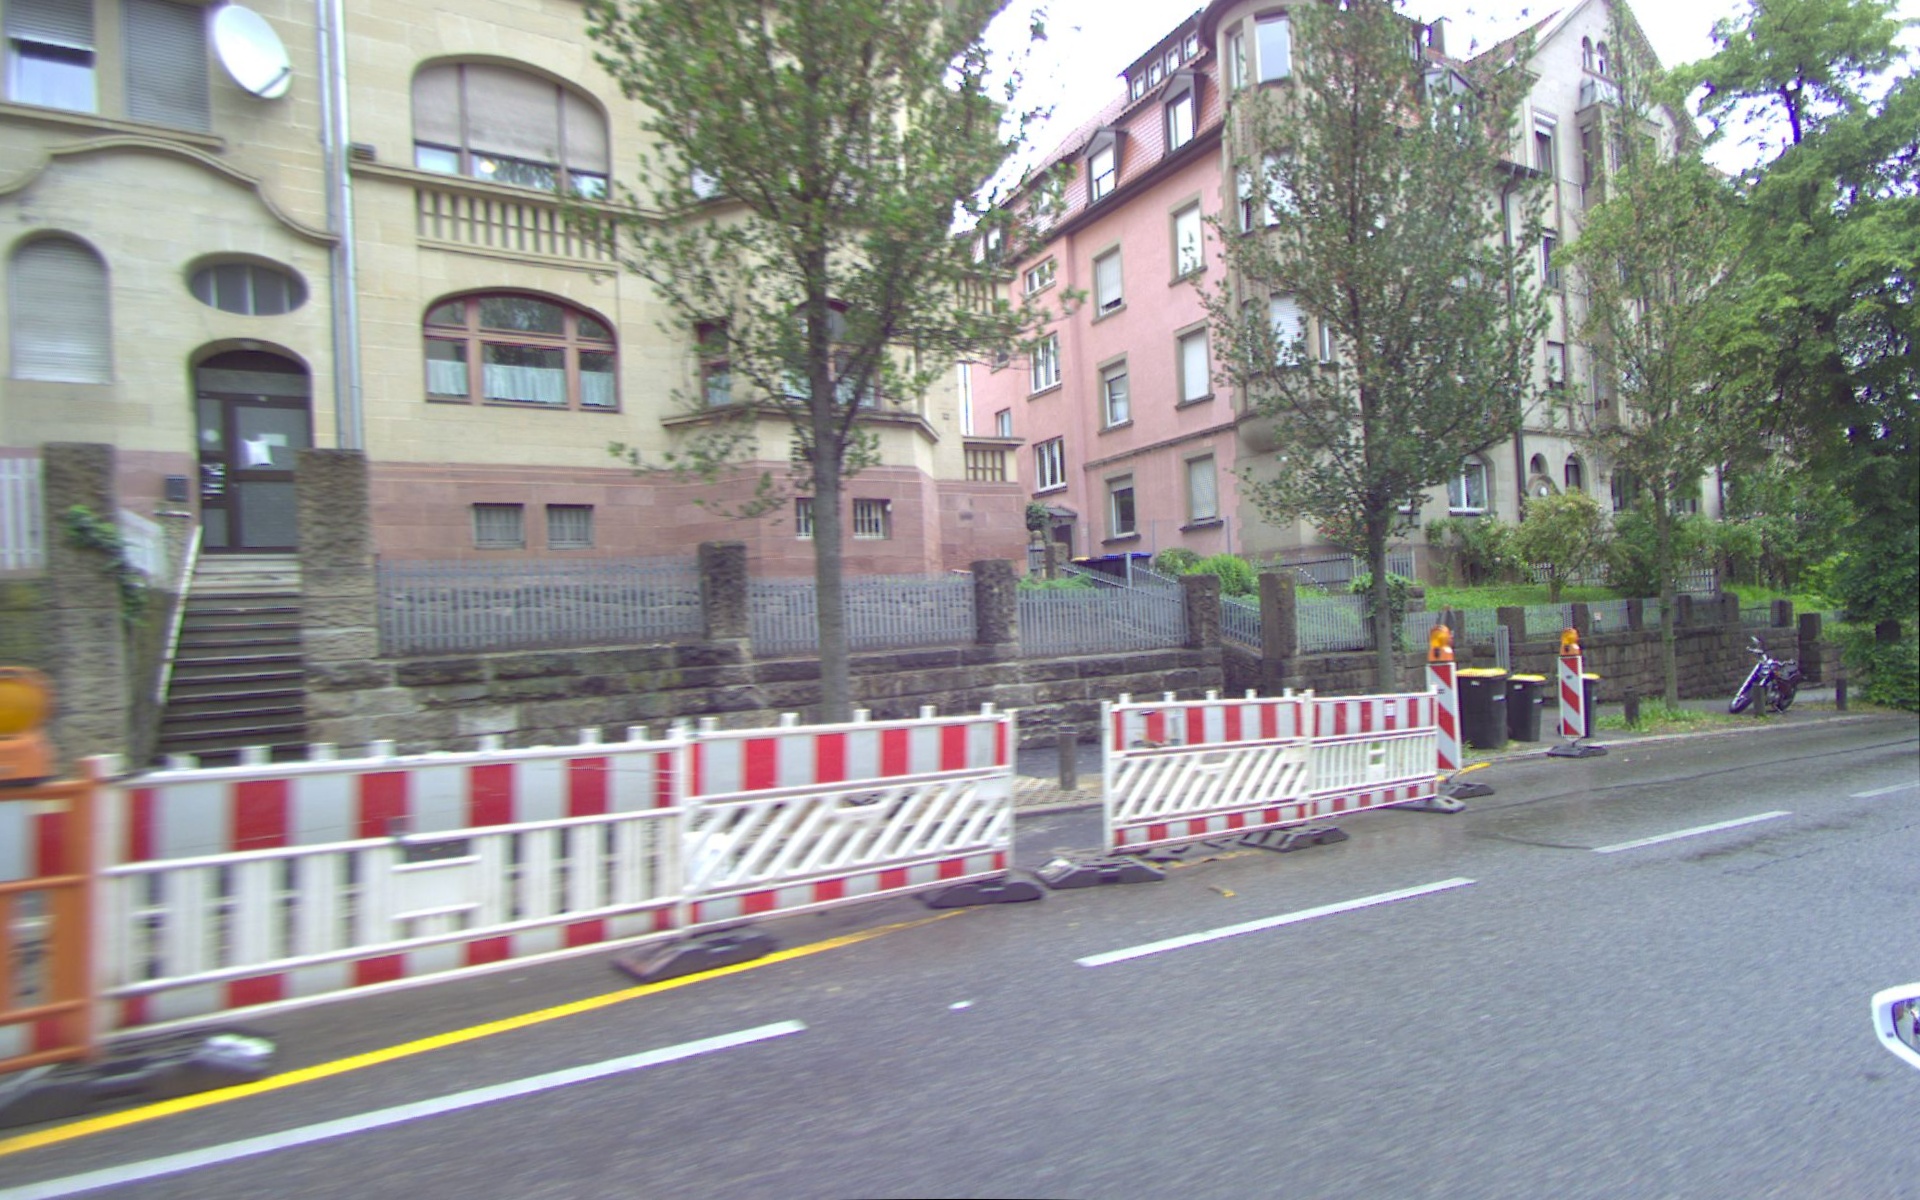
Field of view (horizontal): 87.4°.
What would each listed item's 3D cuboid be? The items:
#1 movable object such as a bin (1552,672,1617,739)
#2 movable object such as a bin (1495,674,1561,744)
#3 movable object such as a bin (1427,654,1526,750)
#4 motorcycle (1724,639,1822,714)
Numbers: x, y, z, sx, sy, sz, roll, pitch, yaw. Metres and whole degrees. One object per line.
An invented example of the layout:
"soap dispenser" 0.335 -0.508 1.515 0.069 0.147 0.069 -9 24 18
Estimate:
"movable object such as a bin" 9.378 1.574 15.089 0.616 0.920 0.601 0 0 -29
"movable object such as a bin" 8.175 1.558 14.456 0.616 0.920 0.601 0 0 -29
"movable object such as a bin" 7.243 1.402 14.099 0.845 1.230 0.941 0 0 -29
"motorcycle" 15.782 1.457 19.481 2.177 1.363 0.762 2 -1 -31
